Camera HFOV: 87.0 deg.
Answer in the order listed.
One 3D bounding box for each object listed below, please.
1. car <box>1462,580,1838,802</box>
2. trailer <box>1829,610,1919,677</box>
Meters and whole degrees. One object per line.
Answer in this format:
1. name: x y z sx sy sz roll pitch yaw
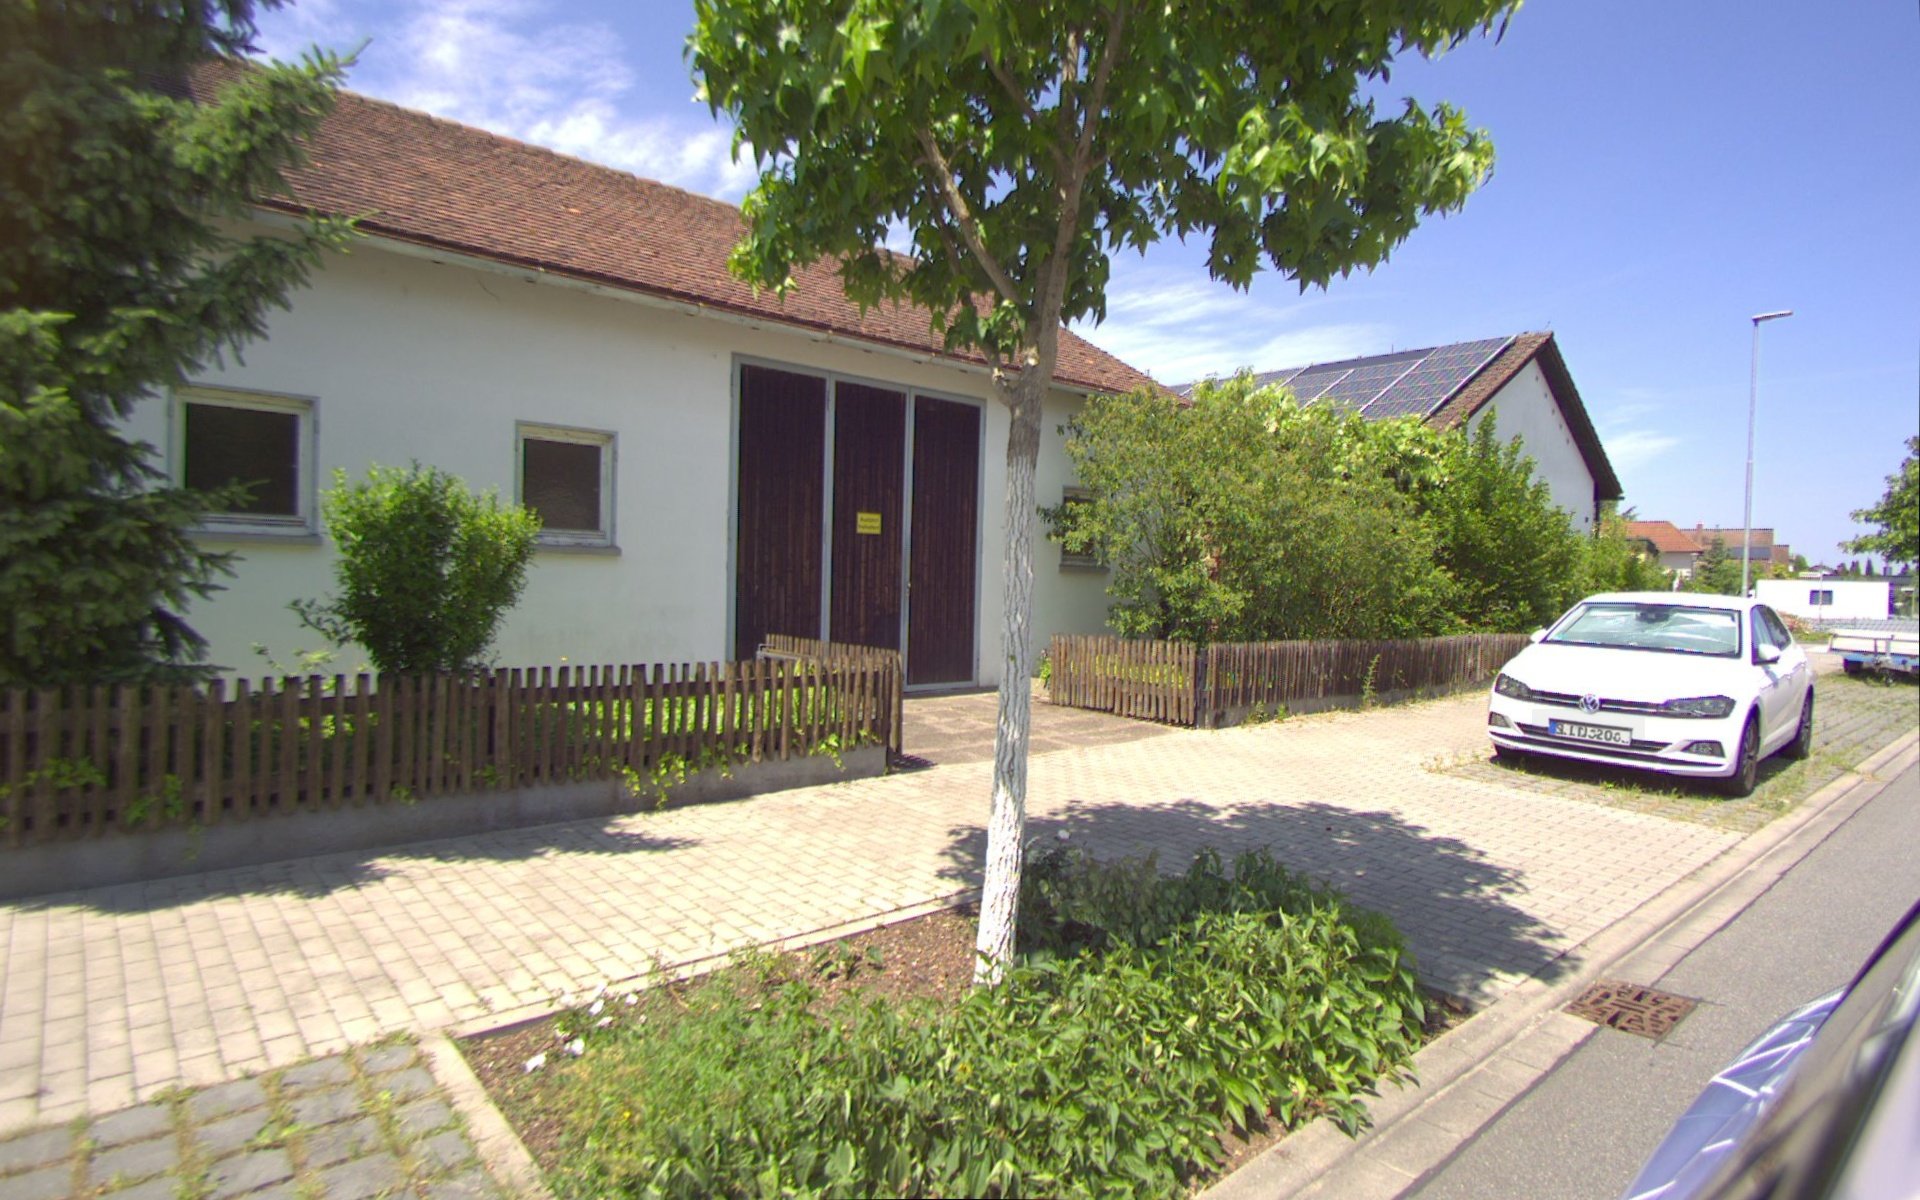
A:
1. car: 6.034 0.592 8.685 3.802 1.437 1.817 0 2 -42
2. trailer: 17.091 0.756 18.189 2.847 1.071 1.791 0 2 -40
